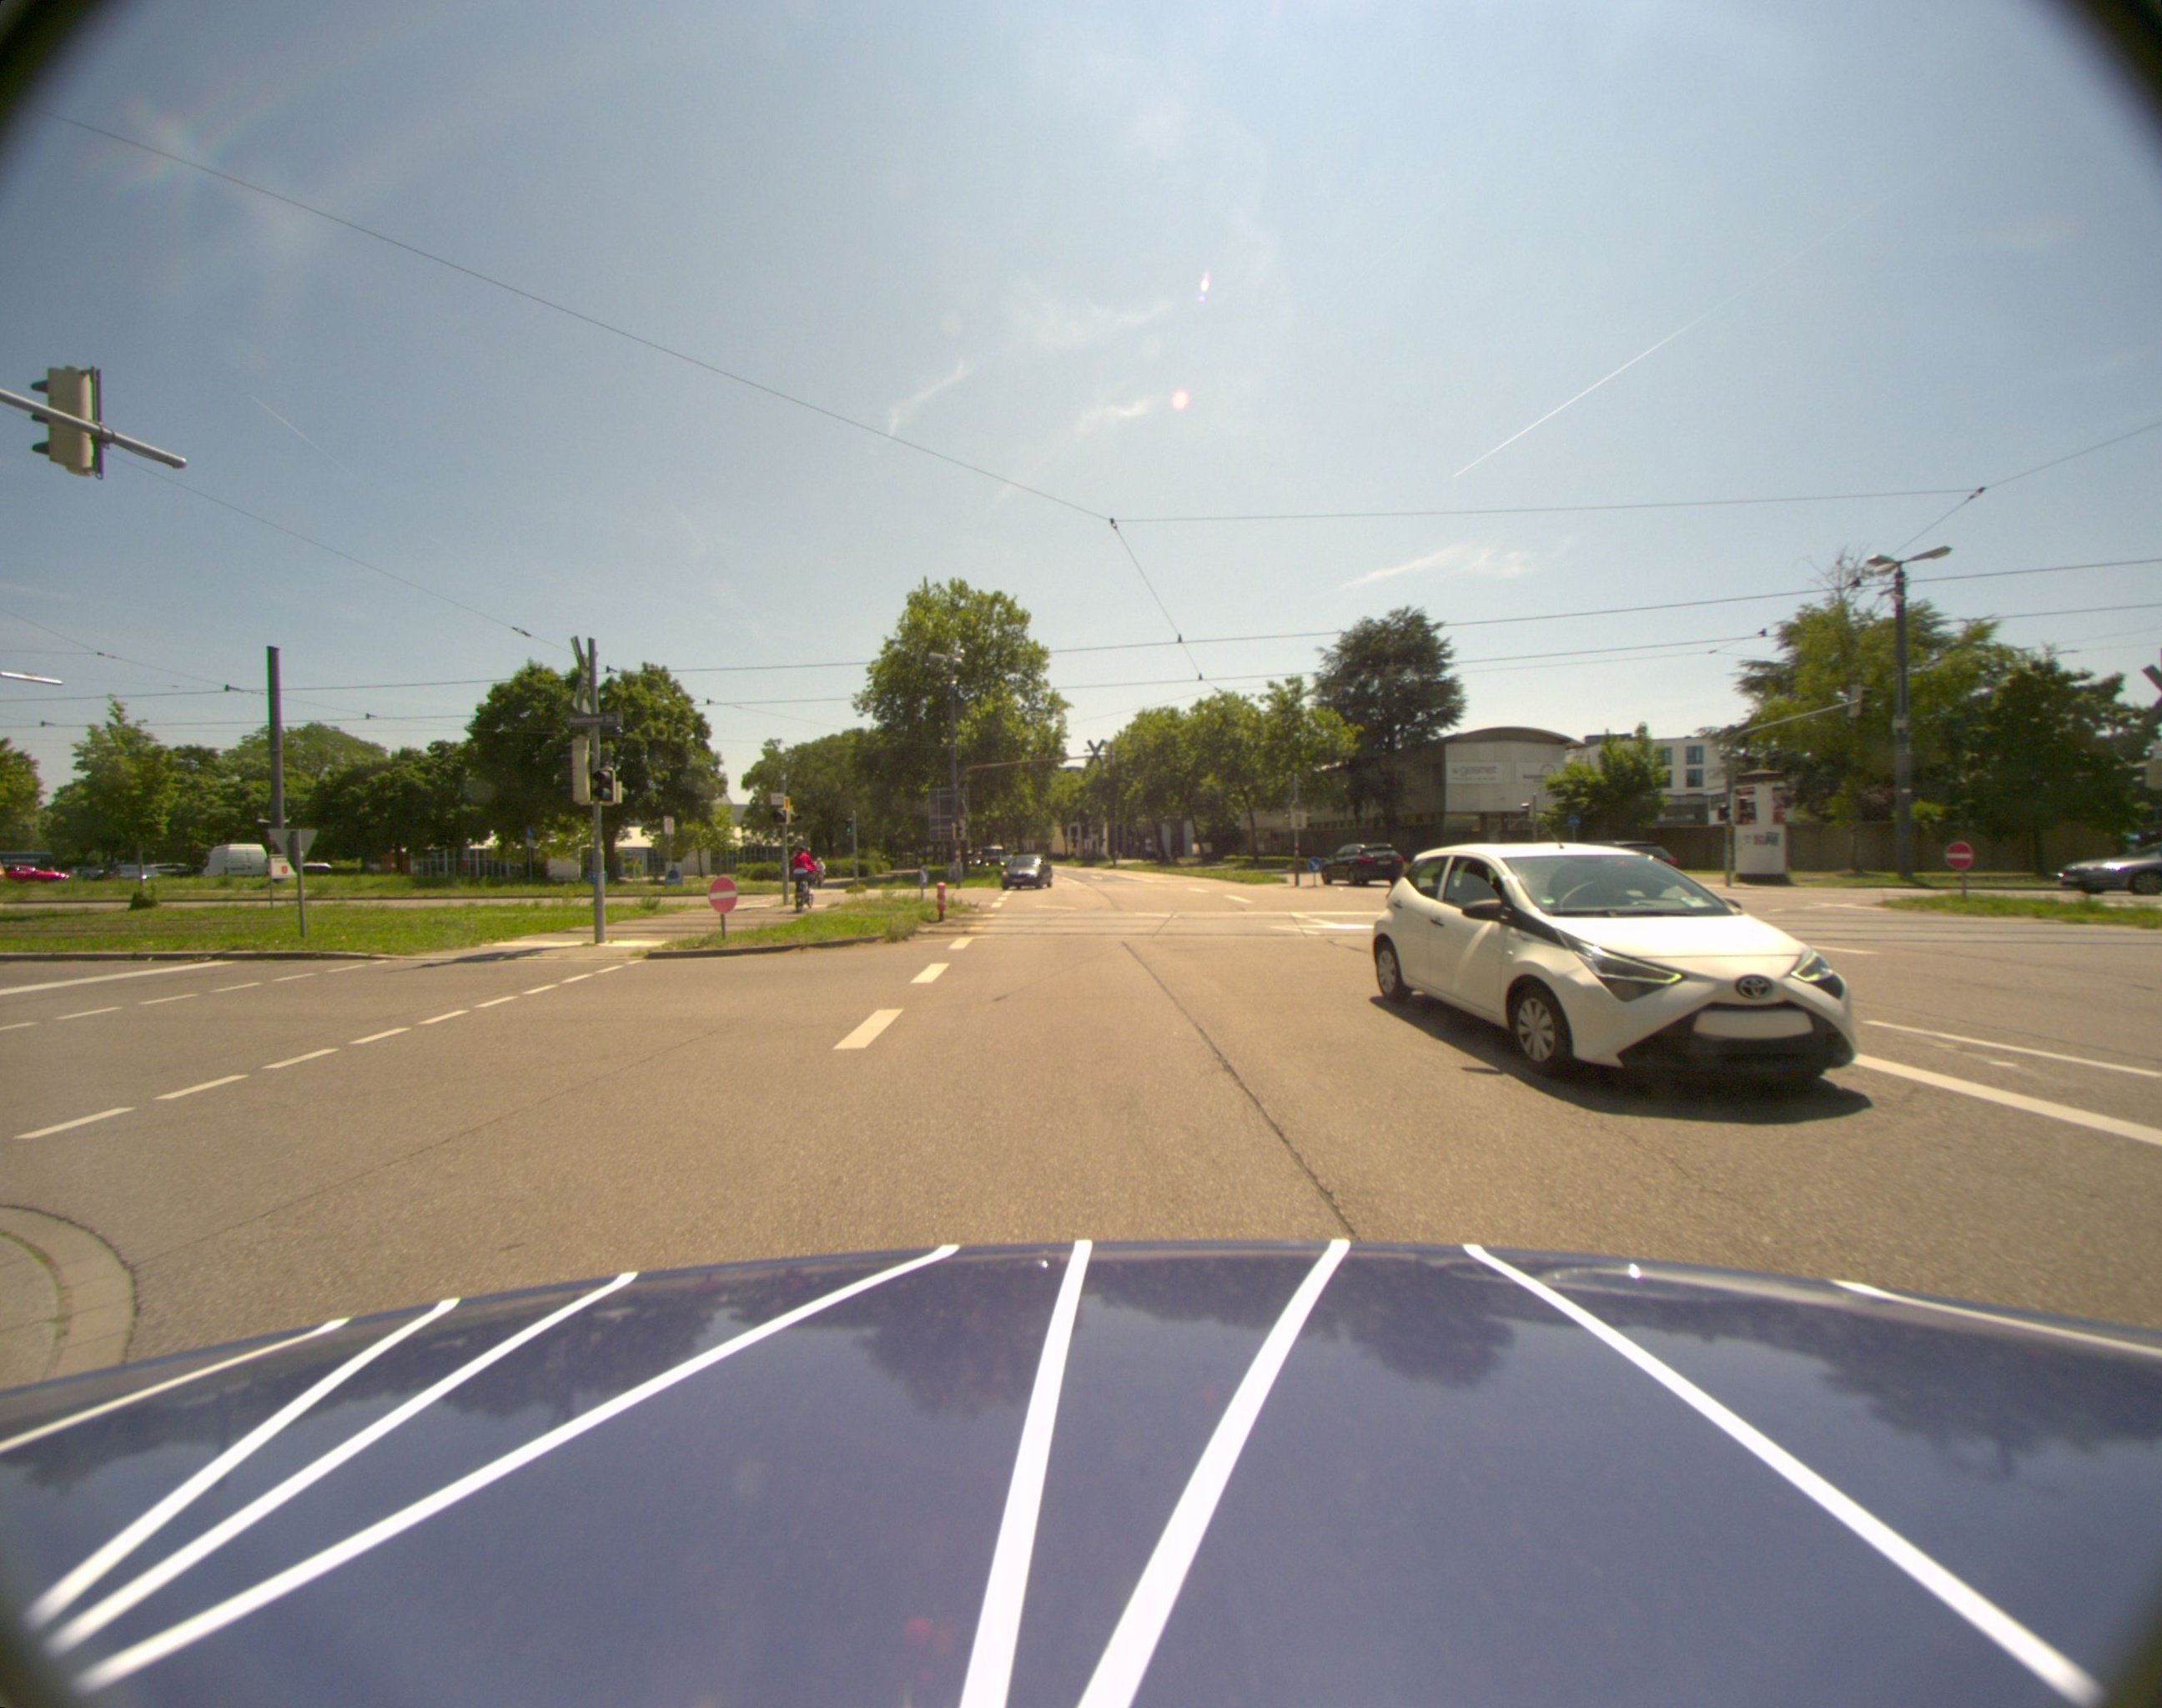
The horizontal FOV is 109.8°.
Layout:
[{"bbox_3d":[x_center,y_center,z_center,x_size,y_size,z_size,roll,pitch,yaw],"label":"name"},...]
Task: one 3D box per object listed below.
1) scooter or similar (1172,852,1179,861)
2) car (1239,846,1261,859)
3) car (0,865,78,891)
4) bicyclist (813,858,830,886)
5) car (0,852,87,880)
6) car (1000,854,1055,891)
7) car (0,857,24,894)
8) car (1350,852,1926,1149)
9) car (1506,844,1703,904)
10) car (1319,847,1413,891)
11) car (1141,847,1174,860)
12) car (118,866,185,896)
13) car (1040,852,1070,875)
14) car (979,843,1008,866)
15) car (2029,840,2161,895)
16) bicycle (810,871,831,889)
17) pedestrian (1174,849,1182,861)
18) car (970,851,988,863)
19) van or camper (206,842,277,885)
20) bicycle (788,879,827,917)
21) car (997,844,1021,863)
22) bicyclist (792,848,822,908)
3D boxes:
[{"bbox_3d":[11.557,0.314,92.919,0.681,1.157,0.858,-1,1,-15],"label":"scooter or similar"},{"bbox_3d":[22.217,-0.243,99.896,1.821,1.638,3.525,-3,1,-6],"label":"car"},{"bbox_3d":[-68.440,1.557,49.801,1.510,1.594,3.086,0,1,30],"label":"car"},{"bbox_3d":[-12.411,0.845,36.318,0.600,1.331,0.666,-1,1,-3],"label":"bicyclist"},{"bbox_3d":[-78.572,0.884,57.031,2.241,2.002,4.430,-1,1,26],"label":"car"},{"bbox_3d":[-2.241,0.768,32.827,1.653,1.453,3.866,-1,0,6],"label":"car"},{"bbox_3d":[-60.782,1.186,42.095,4.650,1.991,2.078,-1,1,30],"label":"car"},{"bbox_3d":[3.544,0.756,5.766,1.623,1.437,3.651,-3,1,-1],"label":"car"},{"bbox_3d":[14.189,0.461,21.020,1.955,1.432,4.744,-1,1,-4],"label":"car"},{"bbox_3d":[10.874,0.518,29.363,1.914,1.530,4.297,-1,0,-1],"label":"car"},{"bbox_3d":[10.854,-0.095,108.291,4.451,1.669,1.913,-1,1,-32],"label":"car"},{"bbox_3d":[-56.374,1.591,46.069,4.060,1.708,1.960,-1,1,31],"label":"car"},{"bbox_3d":[-1.659,0.571,47.467,1.792,1.325,3.741,-1,1,-3],"label":"car"},{"bbox_3d":[-10.567,0.040,91.338,2.920,2.639,6.359,-1,1,-11],"label":"car"},{"bbox_3d":[28.215,0.320,19.399,4.659,1.372,1.891,-1,1,25],"label":"car"},{"bbox_3d":[-12.399,1.223,36.164,0.465,0.760,1.667,-1,1,-3],"label":"bicycle"},{"bbox_3d":[11.780,0.121,92.109,0.644,1.551,0.790,-1,1,-15],"label":"pedestrian"},{"bbox_3d":[-14.253,0.401,106.483,2.001,1.608,3.994,-1,1,-15],"label":"car"},{"bbox_3d":[-55.942,0.629,50.611,5.115,2.735,2.207,-1,1,31],"label":"van or camper"},{"bbox_3d":[-7.234,1.137,20.191,0.589,0.890,1.810,-1,0,-7],"label":"bicycle"},{"bbox_3d":[-7.257,-0.046,76.488,2.000,1.783,3.995,-1,1,-11],"label":"car"},{"bbox_3d":[-7.221,0.626,20.031,0.579,1.547,0.673,-1,1,-7],"label":"bicyclist"}]
